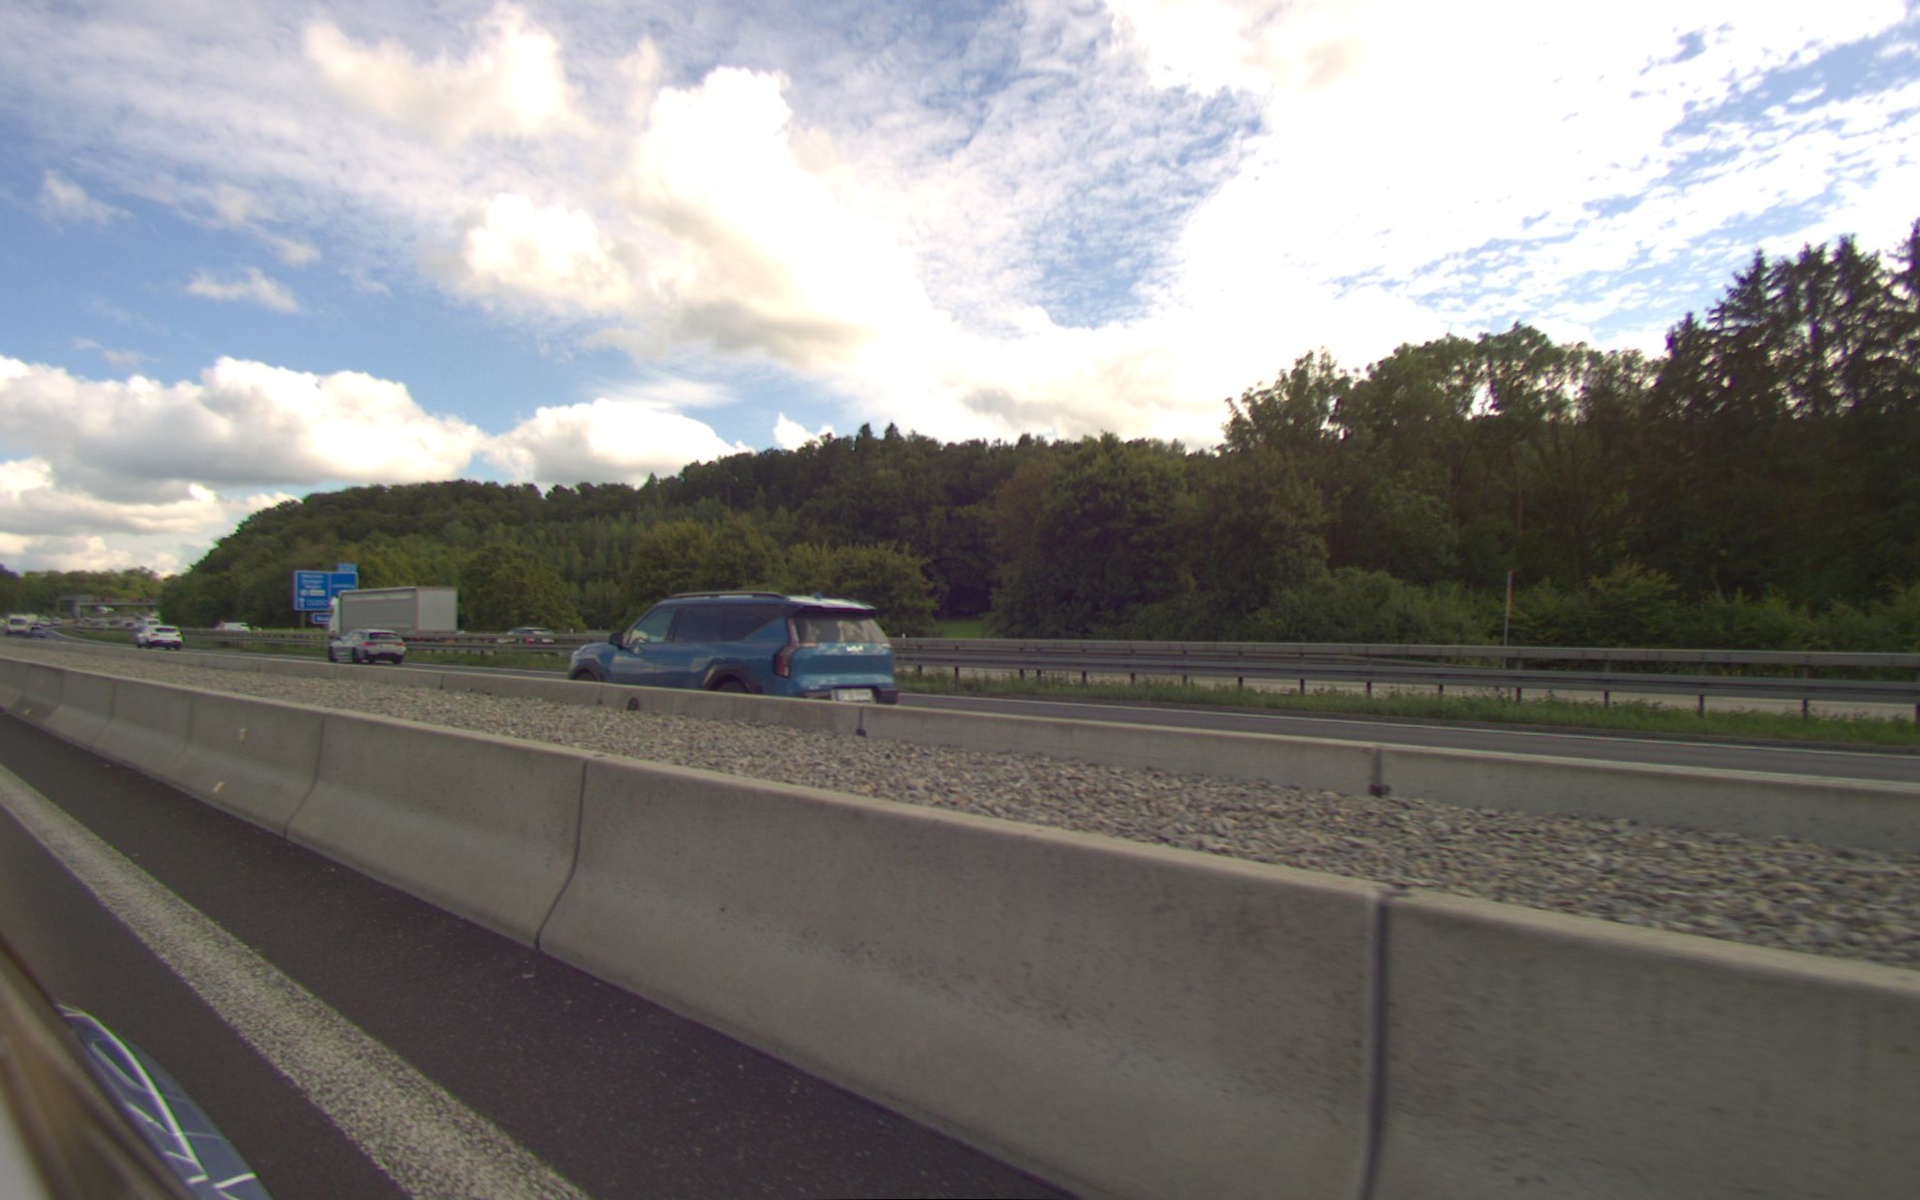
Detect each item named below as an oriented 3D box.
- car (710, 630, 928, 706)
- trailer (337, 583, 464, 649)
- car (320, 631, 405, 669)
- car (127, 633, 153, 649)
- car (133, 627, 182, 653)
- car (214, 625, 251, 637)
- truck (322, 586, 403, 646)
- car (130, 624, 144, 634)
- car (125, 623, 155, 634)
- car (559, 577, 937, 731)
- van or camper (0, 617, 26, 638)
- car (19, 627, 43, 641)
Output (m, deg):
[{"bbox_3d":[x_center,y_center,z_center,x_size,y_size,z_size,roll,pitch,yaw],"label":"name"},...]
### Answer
[{"bbox_3d":[-3.330,1.472,23.105,5.304,1.506,1.922,-1,-2,41],"label":"car"},{"bbox_3d":[-37.851,1.115,68.099,13.380,4.124,3.119,-1,-2,41],"label":"trailer"},{"bbox_3d":[-25.630,2.121,43.364,4.994,1.506,1.628,-1,-2,41],"label":"car"},{"bbox_3d":[-99.547,4.993,122.849,4.001,1.852,1.971,-1,-2,44],"label":"car"},{"bbox_3d":[-53.185,2.632,67.034,4.753,1.643,1.779,-1,-2,42],"label":"car"},{"bbox_3d":[-123.909,5.235,172.361,5.101,1.937,2.167,0,-2,11],"label":"car"},{"bbox_3d":[-42.851,1.155,72.484,6.284,4.097,3.119,-1,-2,41],"label":"truck"},{"bbox_3d":[-166.531,5.894,204.834,1.969,2.029,4.006,2,-2,-41],"label":"car"},{"bbox_3d":[-151.746,5.334,187.228,5.118,2.029,1.986,0,-2,21],"label":"car"},{"bbox_3d":[-2.729,0.581,12.210,4.970,1.506,1.828,-1,-2,41],"label":"car"},{"bbox_3d":[-117.659,3.388,125.667,5.425,2.555,2.076,-1,-3,45],"label":"van or camper"},{"bbox_3d":[-105.361,3.846,114.764,4.209,1.432,1.730,-1,-2,43],"label":"car"}]
